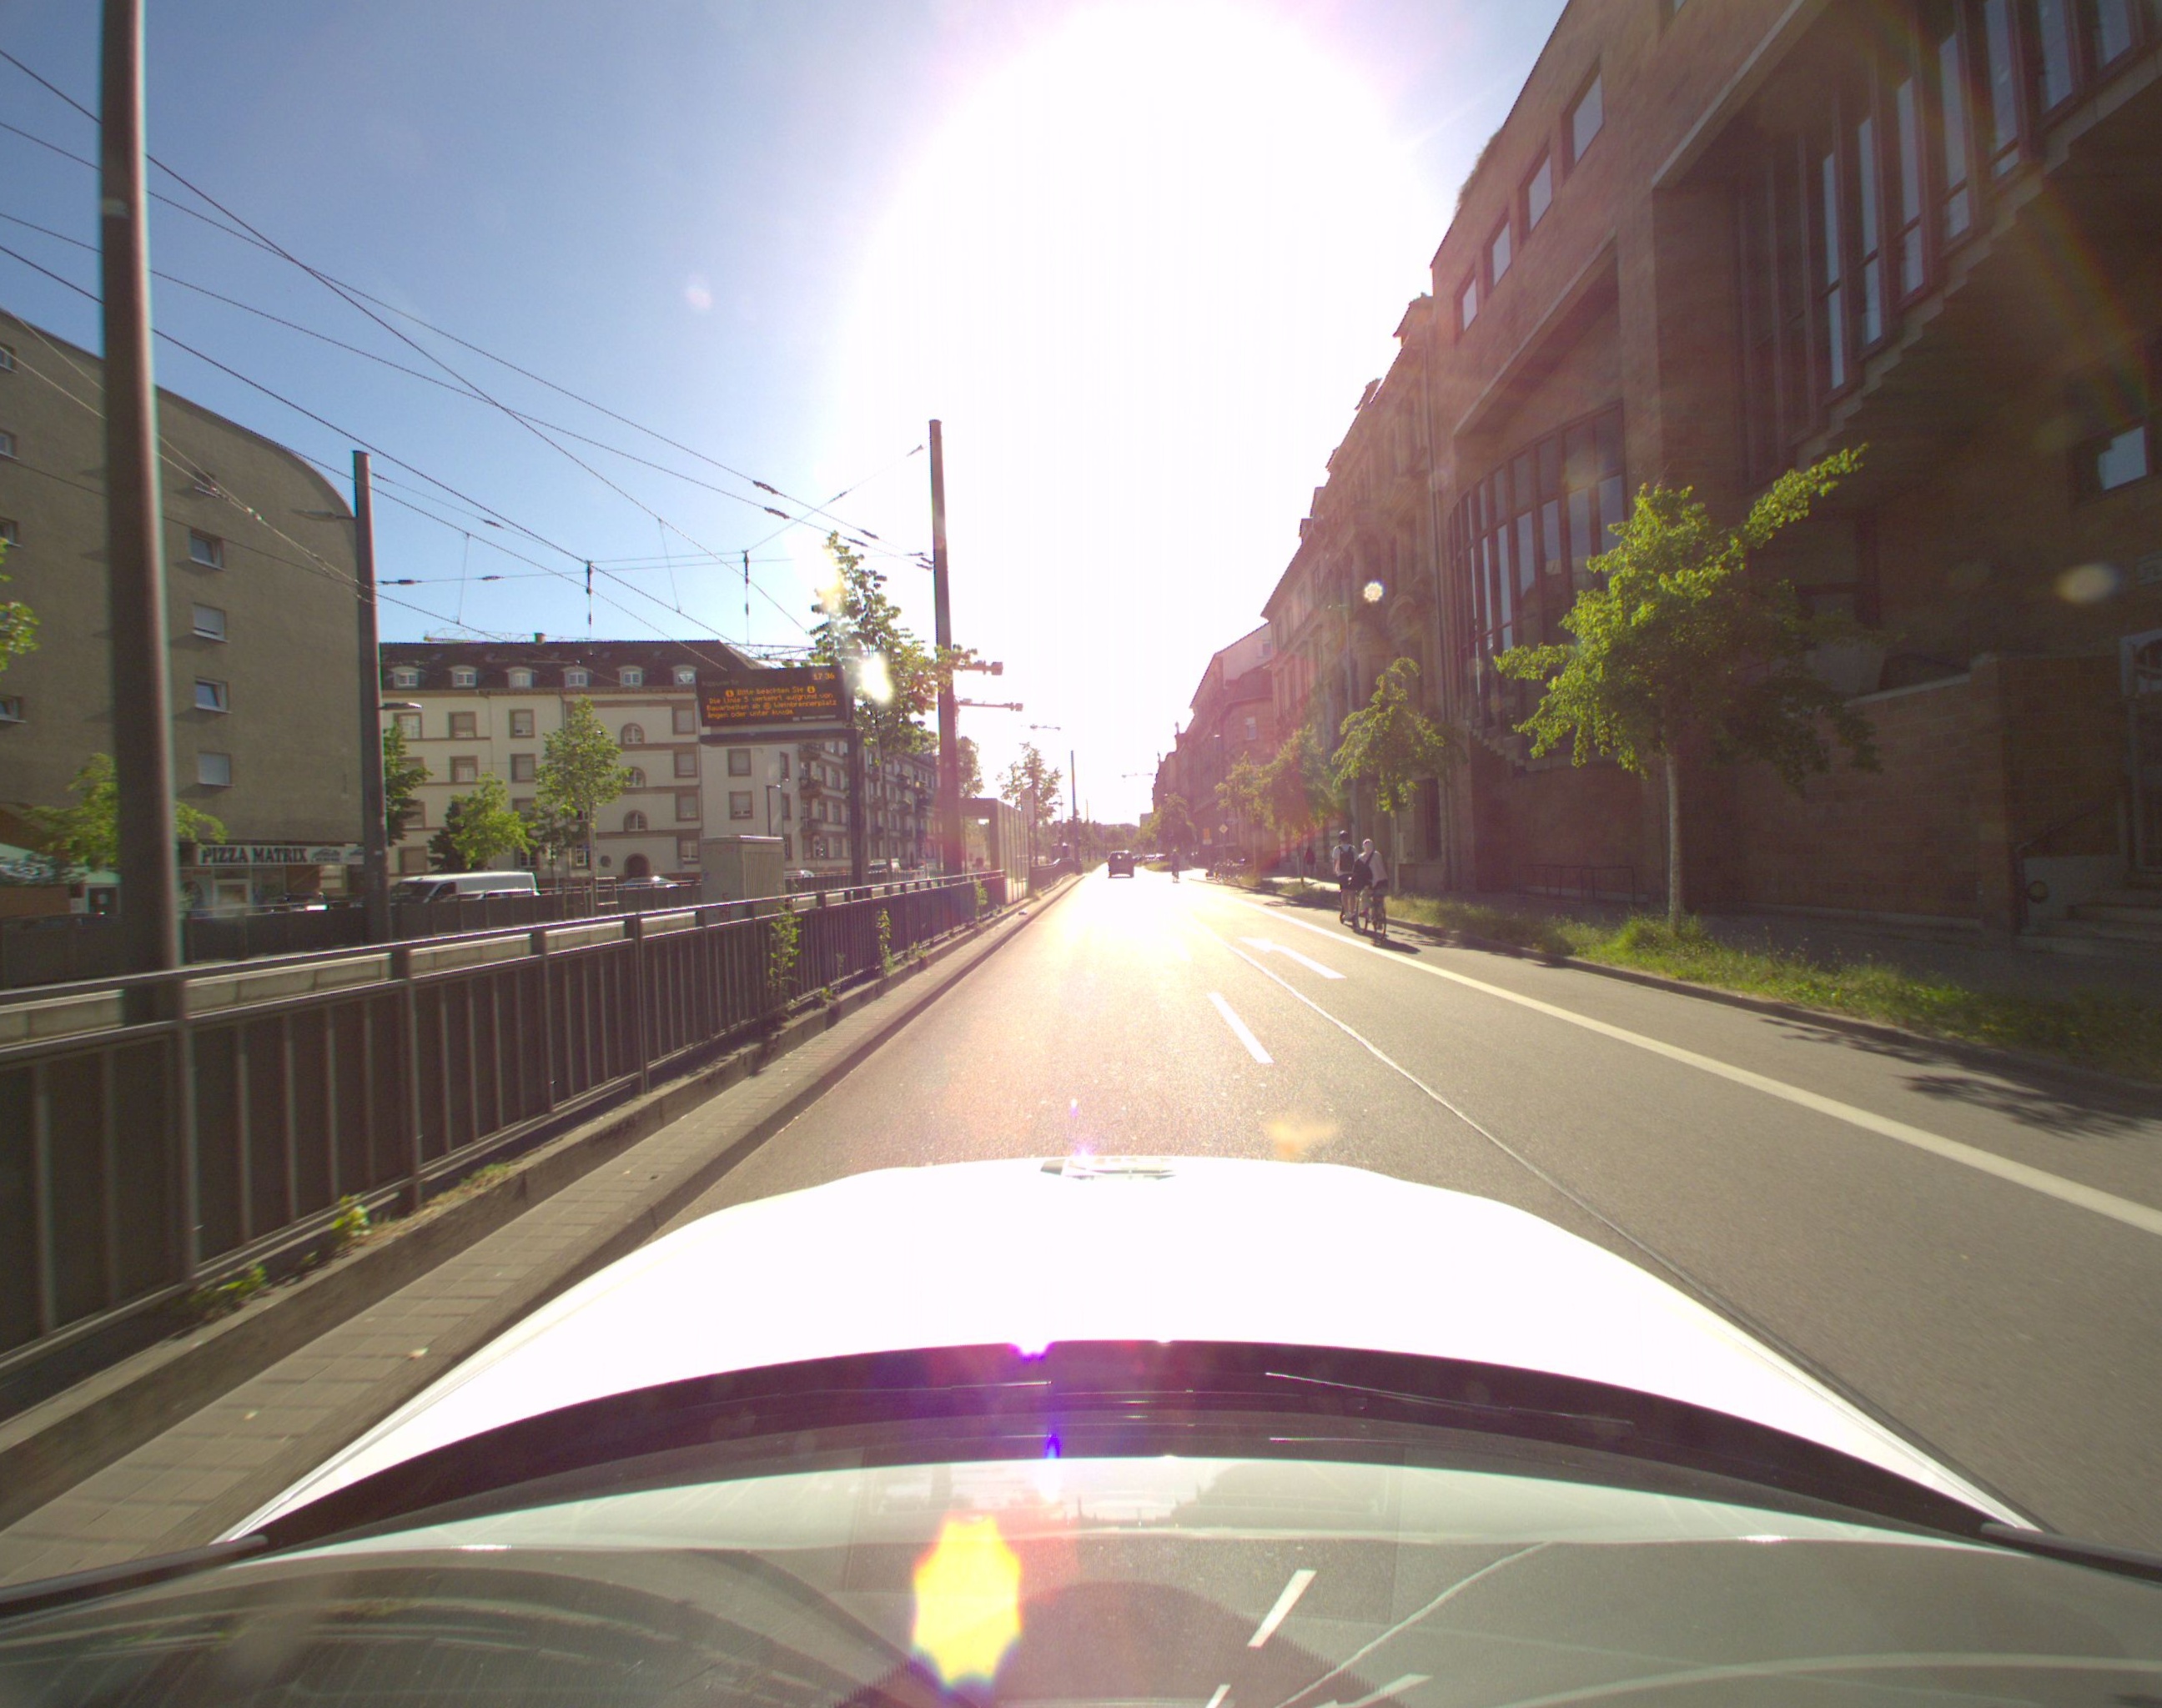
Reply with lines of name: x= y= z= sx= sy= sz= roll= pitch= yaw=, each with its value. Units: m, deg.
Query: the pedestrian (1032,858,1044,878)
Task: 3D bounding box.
pedestrian: x=-3.426 y=1.131 z=64.775 sx=0.861 sy=1.536 sz=0.910 roll=-1 pitch=-1 yaw=2

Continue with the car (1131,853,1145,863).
car: x=9.110 y=0.717 z=131.186 sx=2.020 sy=1.499 sz=4.656 roll=-3 pitch=0 yaw=2

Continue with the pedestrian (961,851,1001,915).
pedestrian: x=-2.485 y=0.711 z=20.346 sx=0.809 sy=1.536 sz=0.798 roll=-2 pitch=0 yaw=3

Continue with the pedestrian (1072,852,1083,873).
pedestrian: x=-0.292 y=0.713 z=68.187 sx=0.863 sy=1.788 sz=0.969 roll=-1 pitch=-1 yaw=-5

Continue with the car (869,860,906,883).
car: x=-15.617 y=1.405 z=65.971 sx=1.812 sy=1.794 sz=4.092 roll=-1 pitch=-1 yaw=3

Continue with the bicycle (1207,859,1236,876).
bicycle: x=8.504 y=0.829 z=49.308 sx=1.660 sy=0.944 sz=0.608 roll=-3 pitch=0 yaw=8

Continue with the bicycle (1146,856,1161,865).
bicycle: x=9.599 y=0.886 z=107.616 sx=1.786 sy=1.030 sz=0.528 roll=-7 pitch=-1 yaw=1

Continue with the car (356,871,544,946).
car: x=-23.455 y=1.929 z=30.672 sx=1.981 sy=2.370 sz=5.660 roll=-2 pitch=0 yaw=10

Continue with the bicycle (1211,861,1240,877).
bicycle: x=8.621 y=0.883 z=48.639 sx=1.660 sy=0.821 sz=0.608 roll=-4 pitch=0 yaw=8

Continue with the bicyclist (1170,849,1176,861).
bicyclist: x=12.280 y=0.135 z=109.082 sx=0.664 sy=1.639 sz=0.961 roll=-2 pitch=0 yaw=2

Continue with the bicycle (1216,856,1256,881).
bicycle: x=8.444 y=0.784 z=44.296 sx=1.987 sy=1.128 sz=0.710 roll=-5 pitch=0 yaw=3

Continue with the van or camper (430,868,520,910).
van or camper: x=-38.572 y=2.150 z=52.049 sx=1.993 sy=2.401 sz=5.937 roll=-3 pitch=0 yaw=-9

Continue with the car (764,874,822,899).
car: x=-15.730 y=1.748 z=44.717 sx=1.688 sy=1.286 sz=3.961 roll=-1 pitch=-1 yaw=1

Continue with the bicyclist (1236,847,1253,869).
bicyclist: x=11.977 y=0.283 z=59.697 sx=0.664 sy=1.530 sz=0.793 roll=-6 pitch=-1 yaw=-30

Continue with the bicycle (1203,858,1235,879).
bicycle: x=7.990 y=0.829 z=47.175 sx=1.715 sy=1.100 sz=0.607 roll=-5 pitch=0 yaw=5

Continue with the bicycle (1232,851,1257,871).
bicycle: x=11.959 y=0.523 z=59.705 sx=0.619 sy=1.330 sz=1.881 roll=-6 pitch=-1 yaw=-29

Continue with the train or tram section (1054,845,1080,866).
train or tram section: x=-1.830 y=0.311 z=111.661 sx=2.744 sy=2.743 sz=9.871 roll=-1 pitch=-1 yaw=3

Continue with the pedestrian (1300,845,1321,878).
pedestrian: x=11.201 y=0.375 z=39.746 sx=0.706 sy=1.542 sz=0.927 roll=-3 pitch=-1 yaw=1

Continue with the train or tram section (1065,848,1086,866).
train or tram section: x=-0.801 y=0.604 z=131.363 sx=2.744 sy=2.743 sz=9.871 roll=-1 pitch=-1 yaw=3

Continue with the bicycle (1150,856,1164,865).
bicycle: x=9.931 y=0.866 z=106.263 sx=1.786 sy=1.030 sz=0.528 roll=-2 pitch=0 yaw=1

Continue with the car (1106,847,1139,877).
car: x=2.915 y=0.555 z=58.045 sx=2.192 sy=1.926 sz=4.656 roll=-3 pitch=0 yaw=2

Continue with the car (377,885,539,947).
car: x=-19.645 y=1.897 z=25.945 sx=1.986 sy=1.684 sz=4.001 roll=-1 pitch=-1 yaw=2

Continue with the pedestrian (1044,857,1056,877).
pedestrian: x=-2.394 y=1.019 z=63.672 sx=0.809 sy=1.536 sz=0.798 roll=-1 pitch=-1 yaw=3

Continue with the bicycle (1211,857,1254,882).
bicycle: x=8.000 y=0.811 z=42.933 sx=1.994 sy=1.092 sz=0.845 roll=-5 pitch=0 yaw=-8

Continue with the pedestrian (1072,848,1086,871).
pedestrian: x=-0.147 y=0.477 z=70.557 sx=1.073 sy=1.908 sz=0.652 roll=-2 pitch=0 yaw=-5

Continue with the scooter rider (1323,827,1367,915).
scooter rider: x=5.704 y=0.358 z=17.629 sx=0.664 sy=1.861 sz=0.901 roll=0 pitch=0 yaw=1

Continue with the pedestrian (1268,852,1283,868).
pedestrian: x=14.963 y=0.447 z=62.597 sx=0.848 sy=1.214 sz=0.932 roll=-1 pitch=0 yaw=-5

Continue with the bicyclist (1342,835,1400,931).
bicyclist: x=5.362 y=0.525 z=15.092 sx=0.776 sy=1.711 sz=0.869 roll=0 pitch=0 yaw=1

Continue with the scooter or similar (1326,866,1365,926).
scooter or similar: x=5.700 y=0.882 z=17.584 sx=0.489 sy=1.227 sz=1.171 roll=0 pitch=0 yaw=1

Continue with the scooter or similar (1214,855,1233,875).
scooter or similar: x=8.897 y=0.682 z=50.711 sx=1.105 sy=1.189 sz=0.420 roll=-3 pitch=0 yaw=8

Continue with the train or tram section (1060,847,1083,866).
train or tram section: x=-1.324 y=0.458 z=121.501 sx=2.744 sy=2.743 sz=9.871 roll=-1 pitch=-1 yaw=3

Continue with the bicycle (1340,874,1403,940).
bicycle: x=5.348 y=0.946 z=15.083 sx=0.555 sy=1.092 sz=1.793 roll=0 pitch=0 yaw=1

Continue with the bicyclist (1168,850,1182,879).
bicyclist: x=5.448 y=0.595 z=47.272 sx=0.681 sy=1.673 sz=0.922 roll=0 pitch=0 yaw=1

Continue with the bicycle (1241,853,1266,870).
bicycle: x=13.007 y=0.593 z=61.429 sx=1.808 sy=1.171 sz=0.655 roll=-3 pitch=3 yaw=5

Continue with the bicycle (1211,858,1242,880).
bicycle: x=8.157 y=0.831 z=45.615 sx=1.592 sy=1.045 sz=0.607 roll=-5 pitch=0 yaw=5

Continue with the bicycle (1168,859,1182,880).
bicycle: x=5.436 y=0.914 z=47.179 sx=0.599 sy=1.181 sz=1.870 roll=0 pitch=0 yaw=1

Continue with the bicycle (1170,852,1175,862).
bicycle: x=12.277 y=0.378 z=109.387 sx=0.581 sy=1.222 sz=1.901 roll=-2 pitch=0 yaw=2

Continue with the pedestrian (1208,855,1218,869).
pedestrian: x=11.389 y=0.707 z=70.438 sx=0.703 sy=1.178 sz=0.635 roll=-4 pitch=-1 yaw=1
